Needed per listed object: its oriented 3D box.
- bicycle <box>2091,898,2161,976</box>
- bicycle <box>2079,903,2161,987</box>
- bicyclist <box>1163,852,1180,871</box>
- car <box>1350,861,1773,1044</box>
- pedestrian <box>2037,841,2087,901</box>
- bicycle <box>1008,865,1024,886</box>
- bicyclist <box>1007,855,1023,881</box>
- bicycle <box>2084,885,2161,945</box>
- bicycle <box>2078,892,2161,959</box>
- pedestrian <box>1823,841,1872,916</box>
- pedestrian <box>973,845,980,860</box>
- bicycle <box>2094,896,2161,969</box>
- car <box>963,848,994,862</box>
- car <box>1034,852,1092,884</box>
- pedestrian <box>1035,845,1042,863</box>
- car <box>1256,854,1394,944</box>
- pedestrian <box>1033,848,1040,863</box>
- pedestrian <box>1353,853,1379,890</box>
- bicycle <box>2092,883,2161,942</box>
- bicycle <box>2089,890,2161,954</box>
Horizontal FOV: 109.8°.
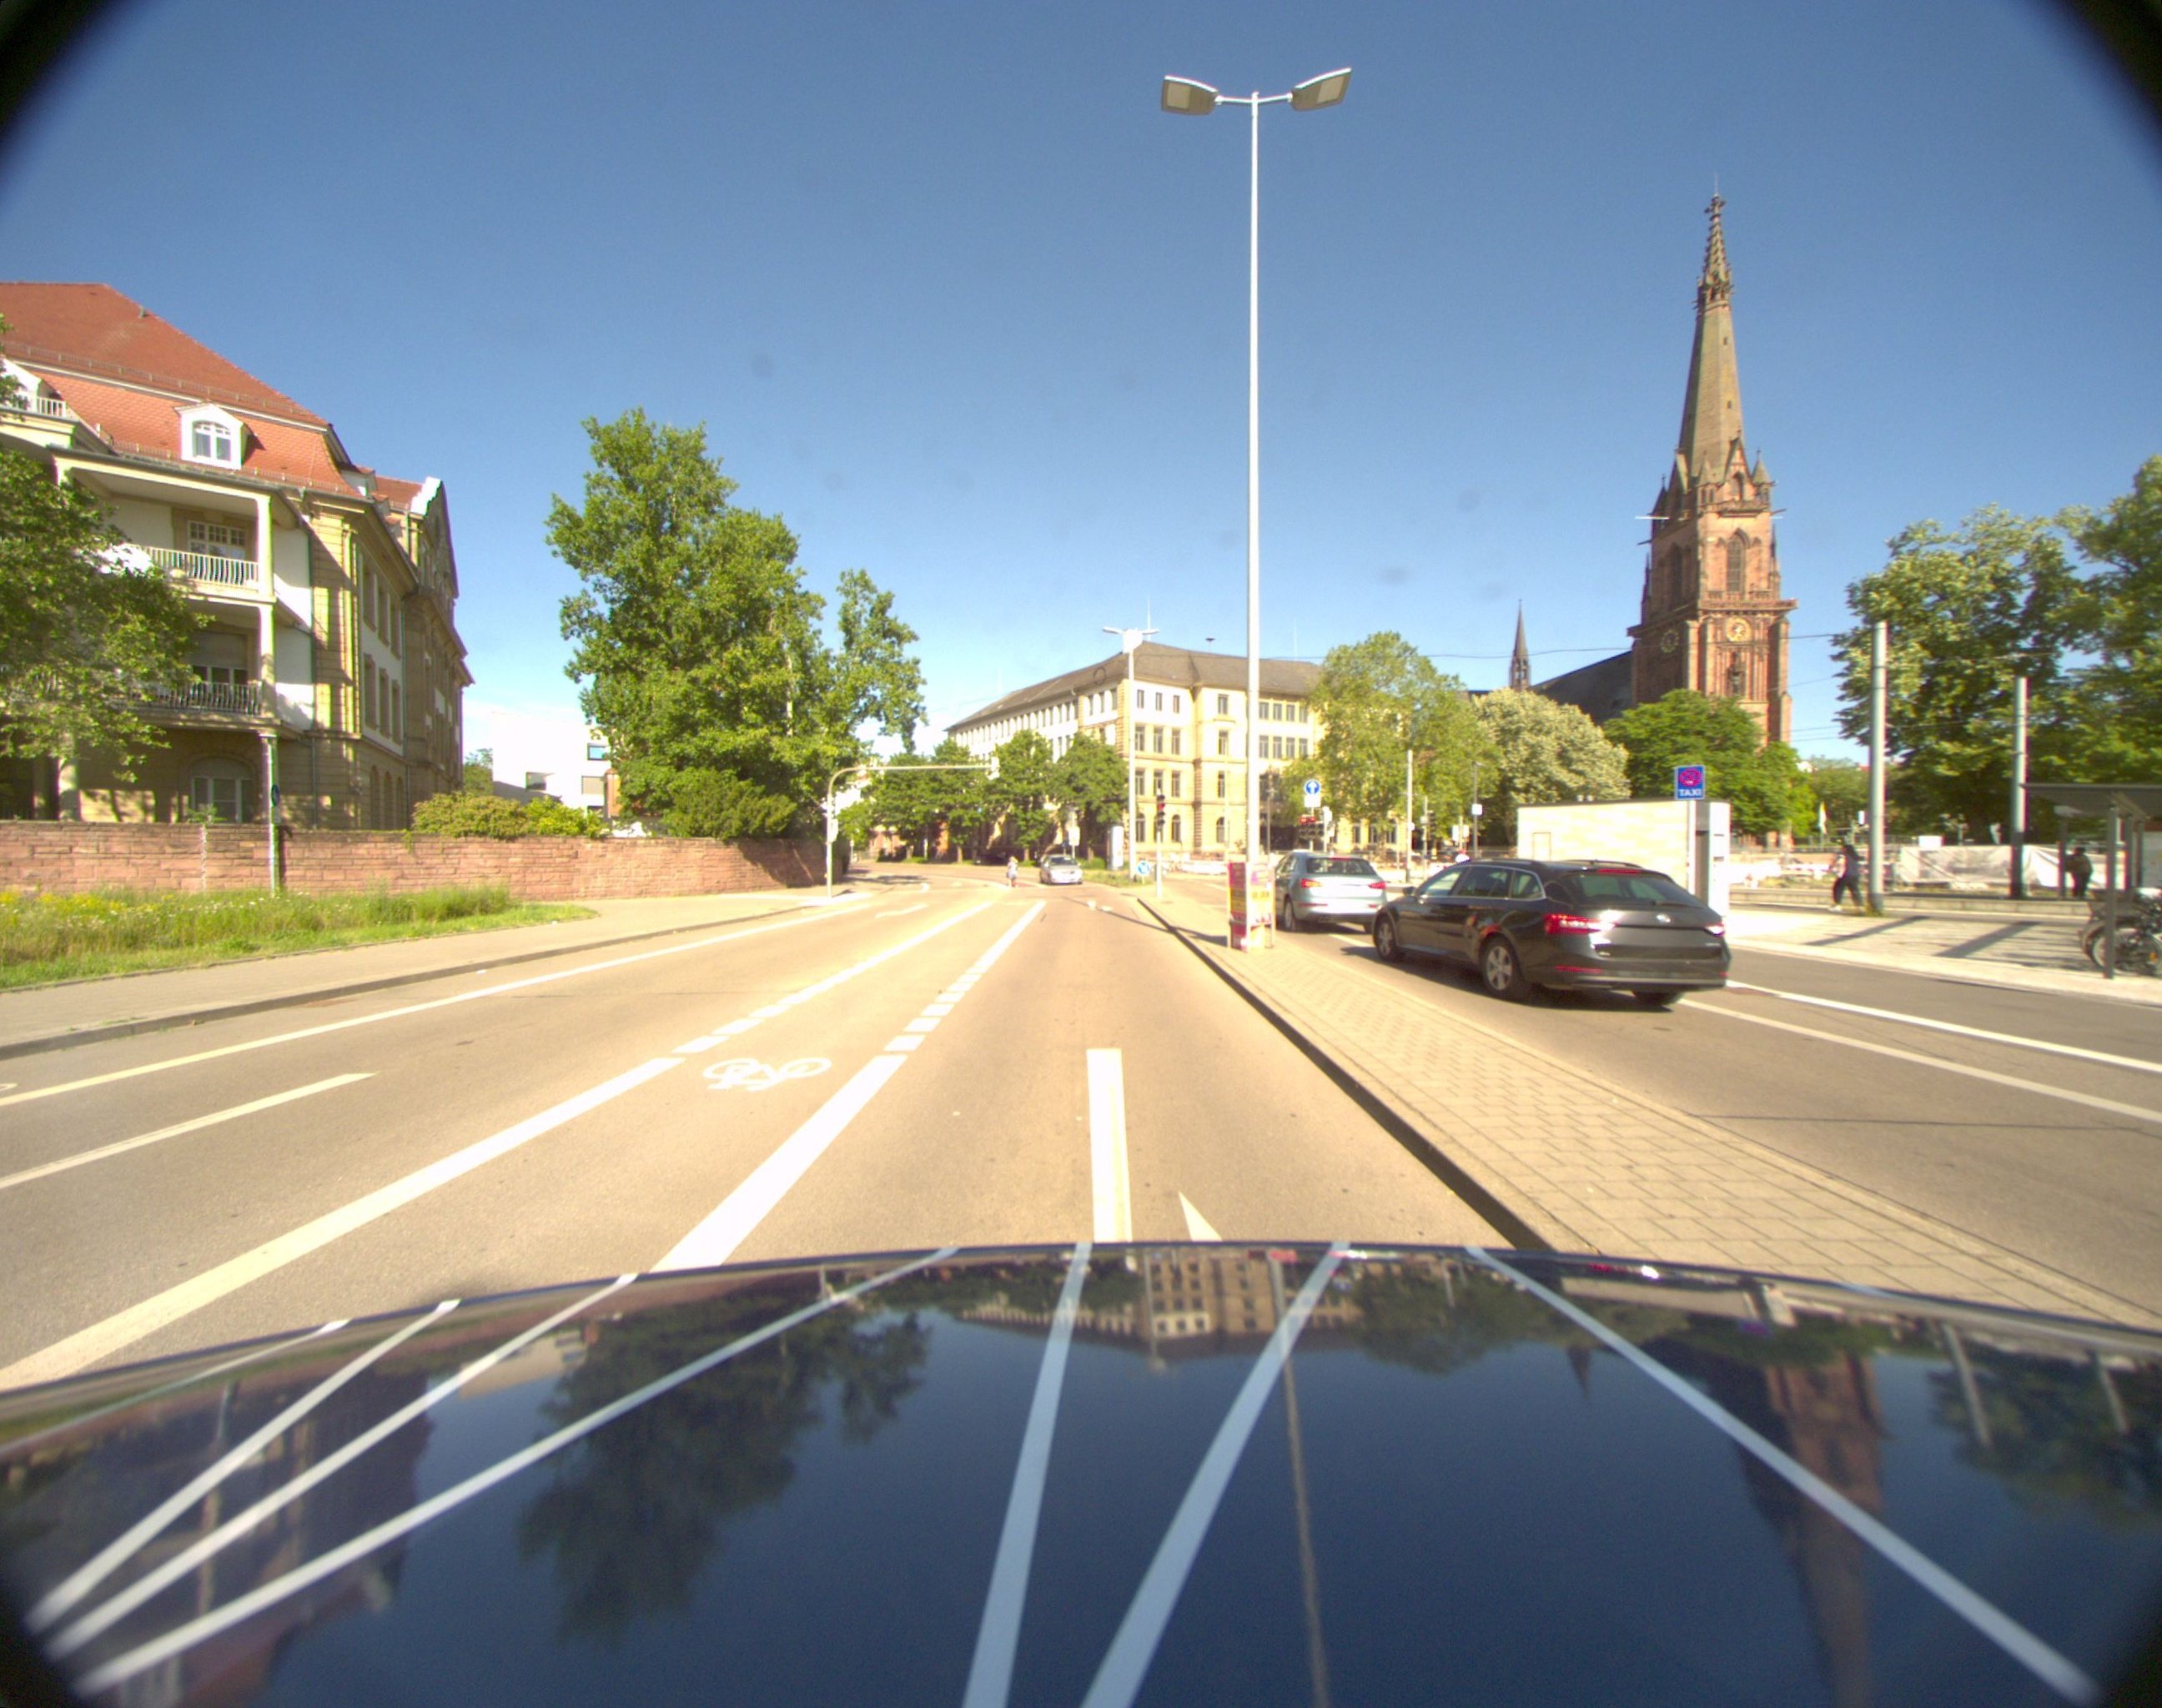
[{"bbox_3d":[15.025,1.165,10.215,0.407,0.993,1.678,-3,3,-33],"label":"bicycle"},{"bbox_3d":[13.980,1.188,9.557,0.407,0.993,1.678,-3,3,-33],"label":"bicycle"},{"bbox_3d":[7.440,0.598,62.514,1.141,1.531,0.684,0,1,36],"label":"bicyclist"},{"bbox_3d":[5.048,0.887,9.019,1.818,1.496,4.783,2,0,-2],"label":"car"},{"bbox_3d":[30.623,0.525,23.719,0.619,1.849,0.703,0,1,11],"label":"pedestrian"},{"bbox_3d":[-3.433,1.120,39.733,0.741,0.989,2.305,-2,1,-6],"label":"bicycle"},{"bbox_3d":[-3.460,0.726,39.780,0.741,1.363,0.626,-2,1,-6],"label":"bicyclist"},{"bbox_3d":[19.023,1.083,13.344,0.407,0.993,1.679,-3,2,-33],"label":"bicycle"},{"bbox_3d":[17.179,1.141,12.019,0.407,0.993,1.679,-3,2,-33],"label":"bicycle"},{"bbox_3d":[19.443,0.602,19.272,0.621,1.849,0.700,-1,1,-28],"label":"pedestrian"},{"bbox_3d":[-13.396,-0.194,97.797,0.578,1.893,0.781,-1,1,-36],"label":"pedestrian"},{"bbox_3d":[16.123,1.182,11.006,0.407,0.993,1.678,-3,3,-33],"label":"bicycle"},{"bbox_3d":[-12.233,0.140,90.455,1.839,1.587,3.989,-1,1,-37],"label":"car"},{"bbox_3d":[-1.064,0.714,41.502,2.001,1.580,4.845,-3,1,-15],"label":"car"},{"bbox_3d":[-4.919,0.006,88.234,0.557,2.002,0.645,-1,1,-37],"label":"pedestrian"},{"bbox_3d":[4.844,0.800,15.720,1.791,1.572,4.259,1,0,5],"label":"car"},{"bbox_3d":[-5.038,0.179,85.942,0.540,1.710,0.545,-1,1,-37],"label":"pedestrian"},{"bbox_3d":[13.141,0.806,35.021,0.932,1.657,0.630,0,1,-9],"label":"pedestrian"},{"bbox_3d":[19.508,1.064,13.586,0.407,0.993,1.679,-3,2,-33],"label":"bicycle"},{"bbox_3d":[17.959,1.137,12.466,0.407,0.993,1.679,-3,2,-33],"label":"bicycle"}]
